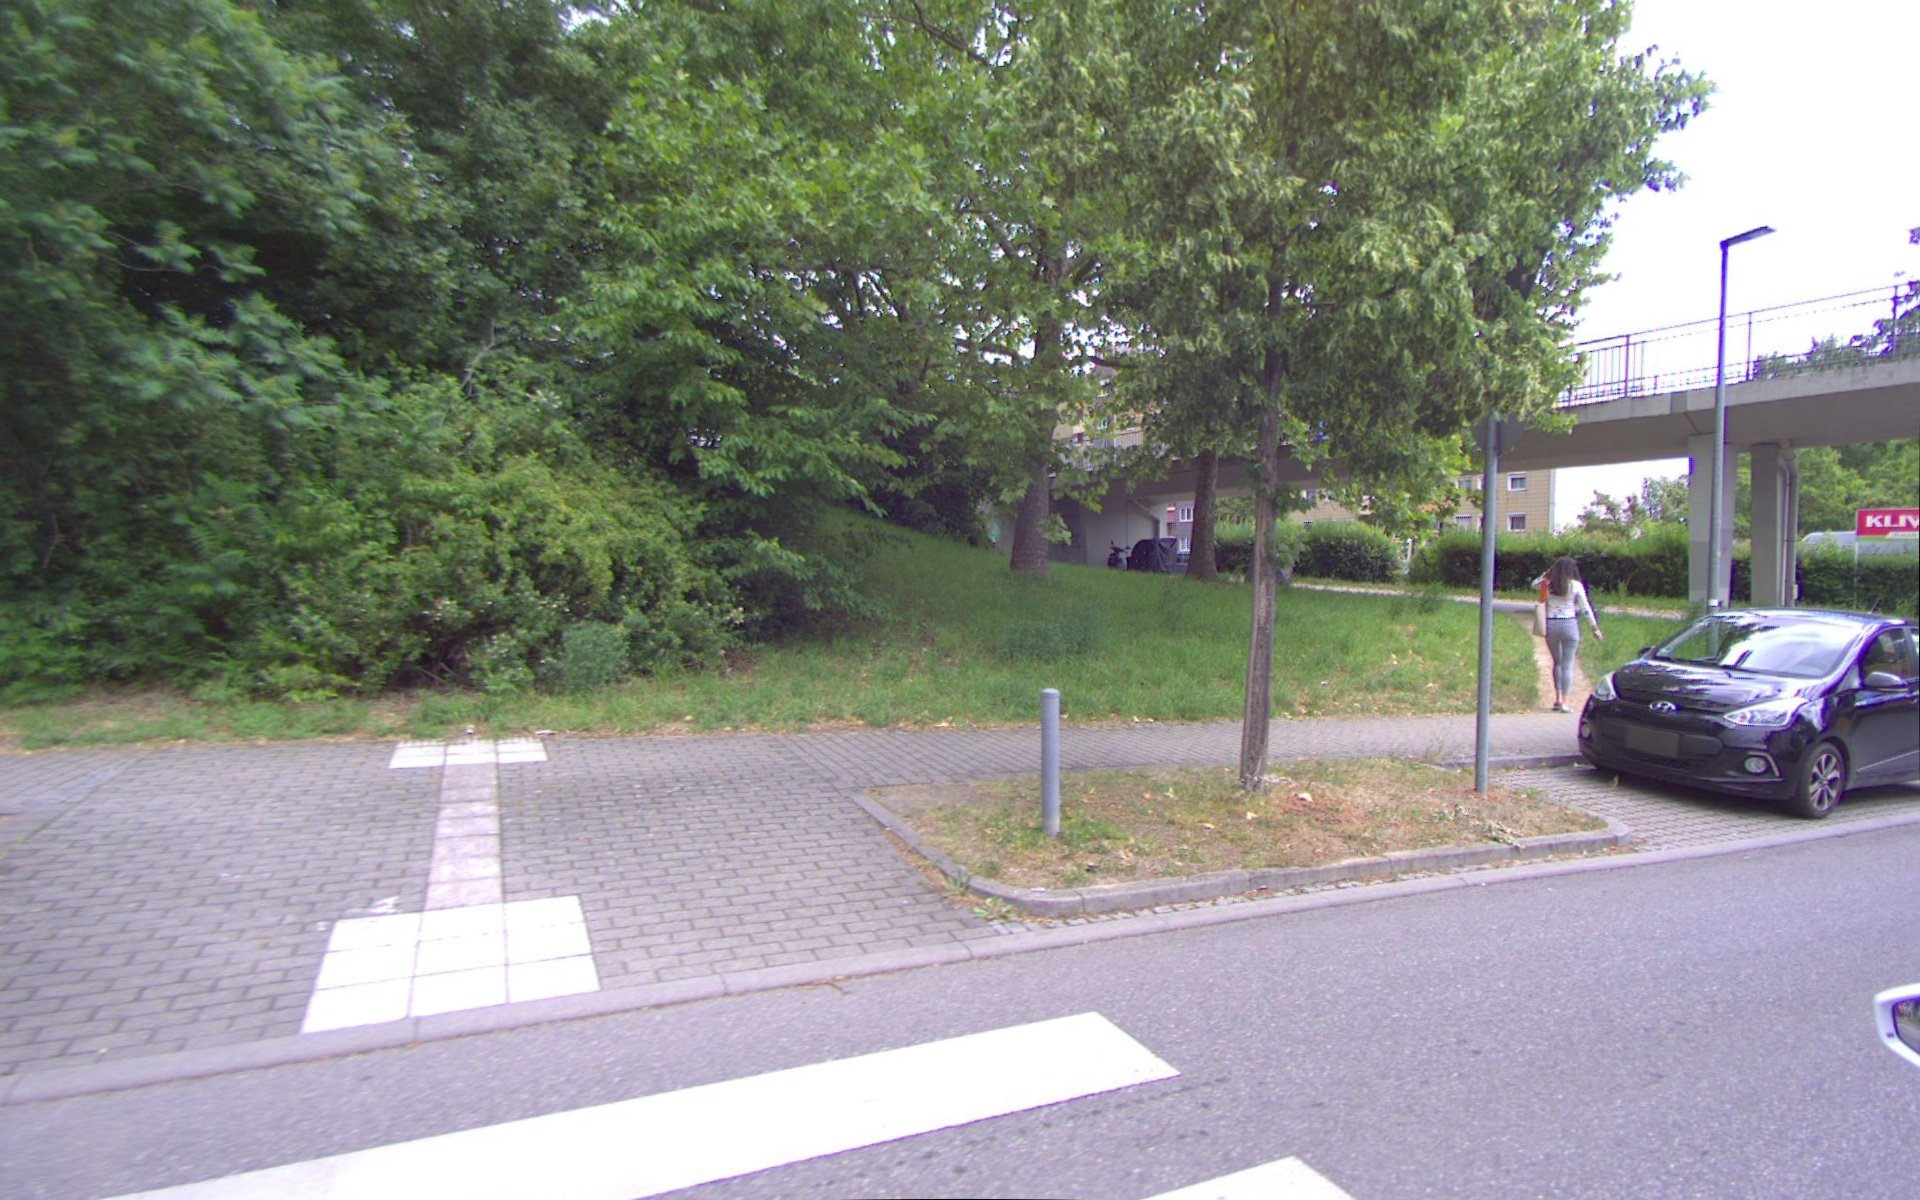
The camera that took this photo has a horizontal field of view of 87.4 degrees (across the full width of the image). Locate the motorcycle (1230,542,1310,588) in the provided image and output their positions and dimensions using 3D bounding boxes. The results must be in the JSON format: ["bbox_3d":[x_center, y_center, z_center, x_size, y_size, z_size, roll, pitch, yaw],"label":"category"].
[{"bbox_3d":[9.065,-1.019,29.427,2.009,1.288,0.885,1,2,-8],"label":"motorcycle"}]

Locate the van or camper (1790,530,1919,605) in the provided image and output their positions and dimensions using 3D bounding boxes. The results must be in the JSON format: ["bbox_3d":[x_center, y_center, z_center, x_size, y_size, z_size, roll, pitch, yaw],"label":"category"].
[{"bbox_3d":[27.442,-0.943,29.094,1.976,2.114,4.830,0,3,-30],"label":"van or camper"}]

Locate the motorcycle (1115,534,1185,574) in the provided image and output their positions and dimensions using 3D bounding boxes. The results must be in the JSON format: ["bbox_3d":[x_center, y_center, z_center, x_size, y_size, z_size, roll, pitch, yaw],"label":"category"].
[{"bbox_3d":[6.436,-1.537,33.931,2.289,1.288,0.879,0,3,-30],"label":"motorcycle"}]

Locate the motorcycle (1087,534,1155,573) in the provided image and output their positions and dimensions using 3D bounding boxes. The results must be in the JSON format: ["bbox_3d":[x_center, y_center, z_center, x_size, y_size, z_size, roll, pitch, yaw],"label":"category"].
[{"bbox_3d":[5.564,-1.582,34.672,2.289,1.288,0.879,0,3,-30],"label":"motorcycle"}]

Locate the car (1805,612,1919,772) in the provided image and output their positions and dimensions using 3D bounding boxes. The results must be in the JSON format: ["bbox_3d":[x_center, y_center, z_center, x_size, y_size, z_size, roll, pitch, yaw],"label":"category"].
[{"bbox_3d":[10.830,0.950,10.357,3.498,1.480,1.879,1,3,-25],"label":"car"}]

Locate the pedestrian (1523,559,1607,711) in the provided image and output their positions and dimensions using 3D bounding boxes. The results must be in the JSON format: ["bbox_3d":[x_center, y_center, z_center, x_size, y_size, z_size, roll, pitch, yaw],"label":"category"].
[{"bbox_3d":[7.217,0.393,12.014,0.725,1.745,0.659,2,3,24],"label":"pedestrian"}]

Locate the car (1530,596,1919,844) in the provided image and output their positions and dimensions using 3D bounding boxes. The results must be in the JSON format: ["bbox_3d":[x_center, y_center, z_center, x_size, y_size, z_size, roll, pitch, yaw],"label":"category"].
[{"bbox_3d":[6.864,0.793,8.365,3.950,1.488,1.778,0,6,-29],"label":"car"}]
